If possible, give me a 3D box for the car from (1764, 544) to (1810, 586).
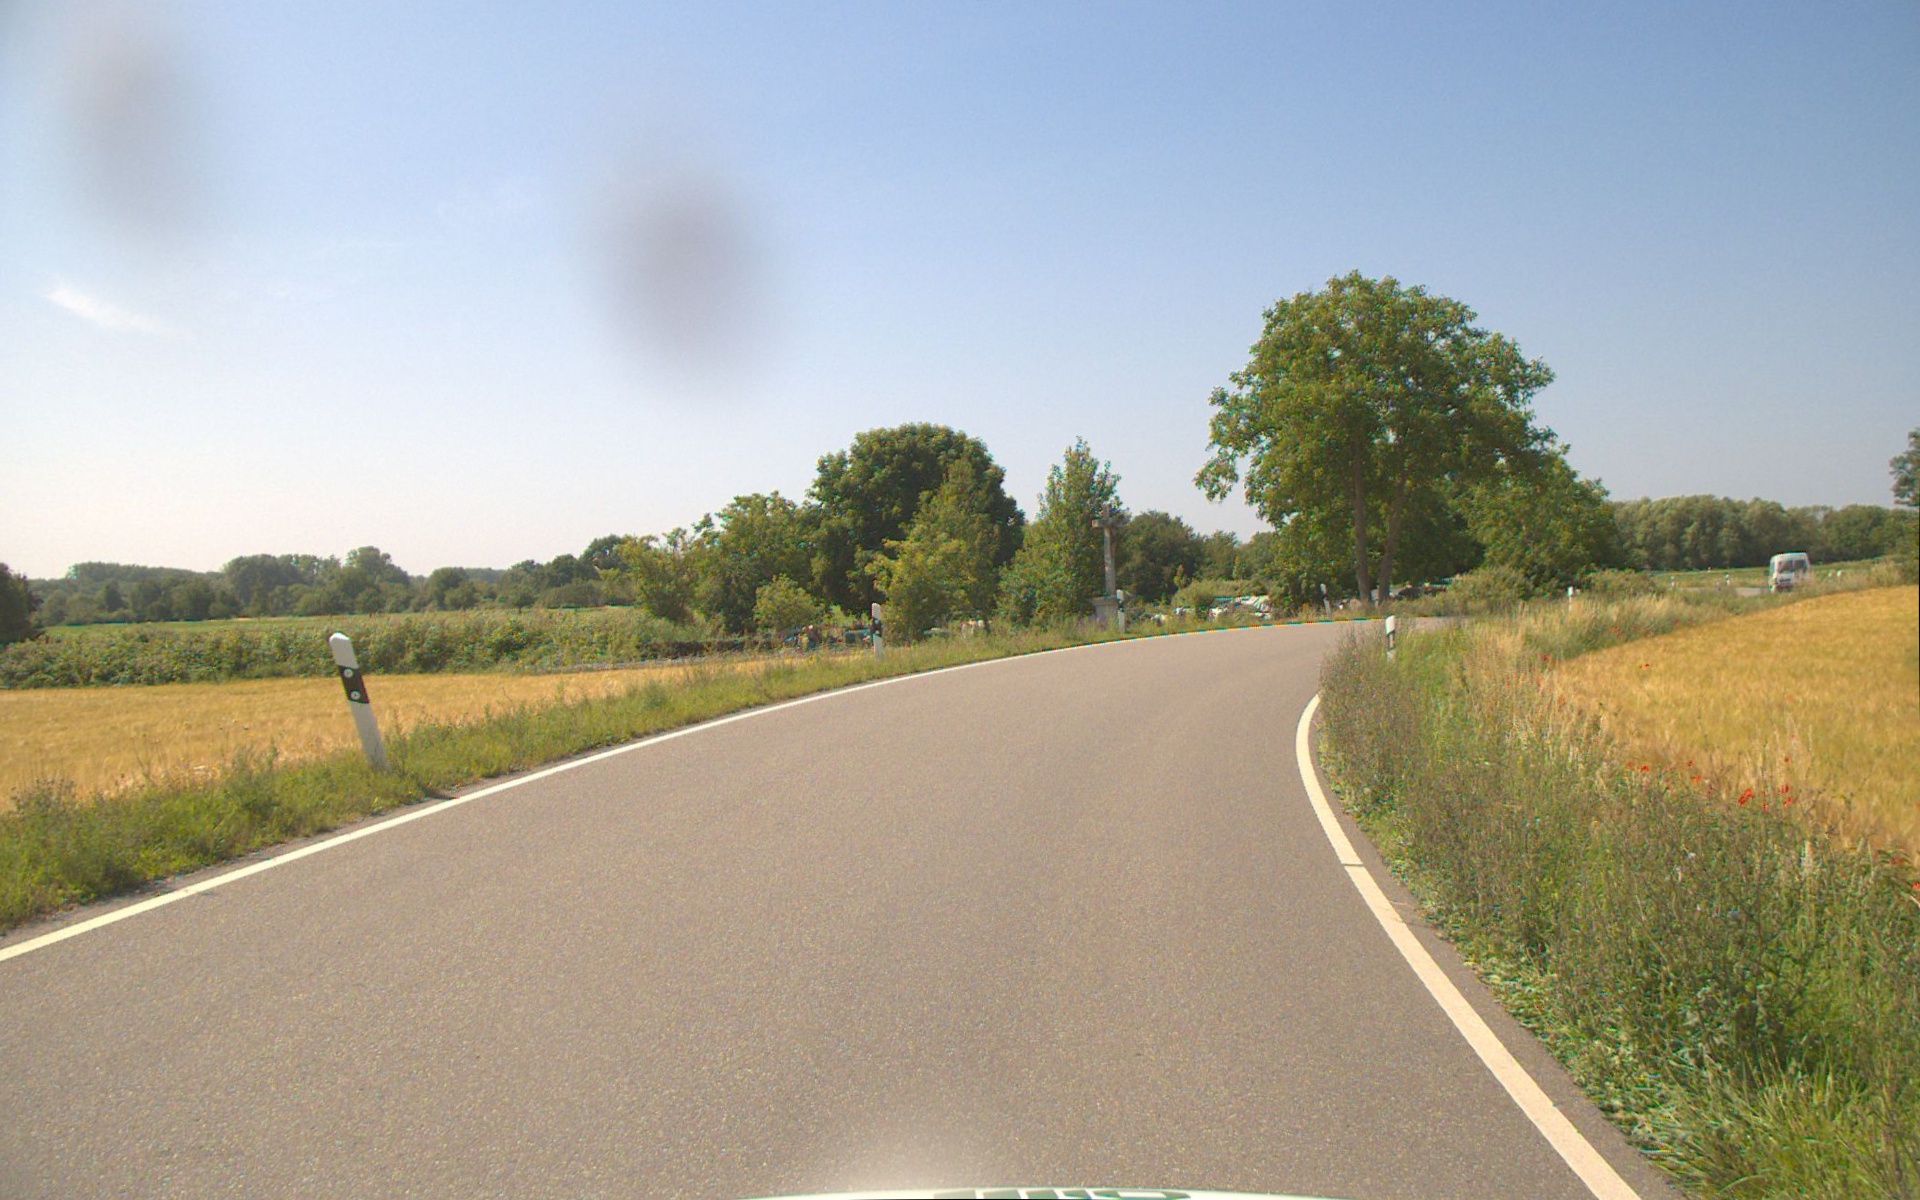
[{"bbox_3d":[50.405,-2.137,100.848,2.061,2.408,5.686,-2,1,23],"label":"car"}]
